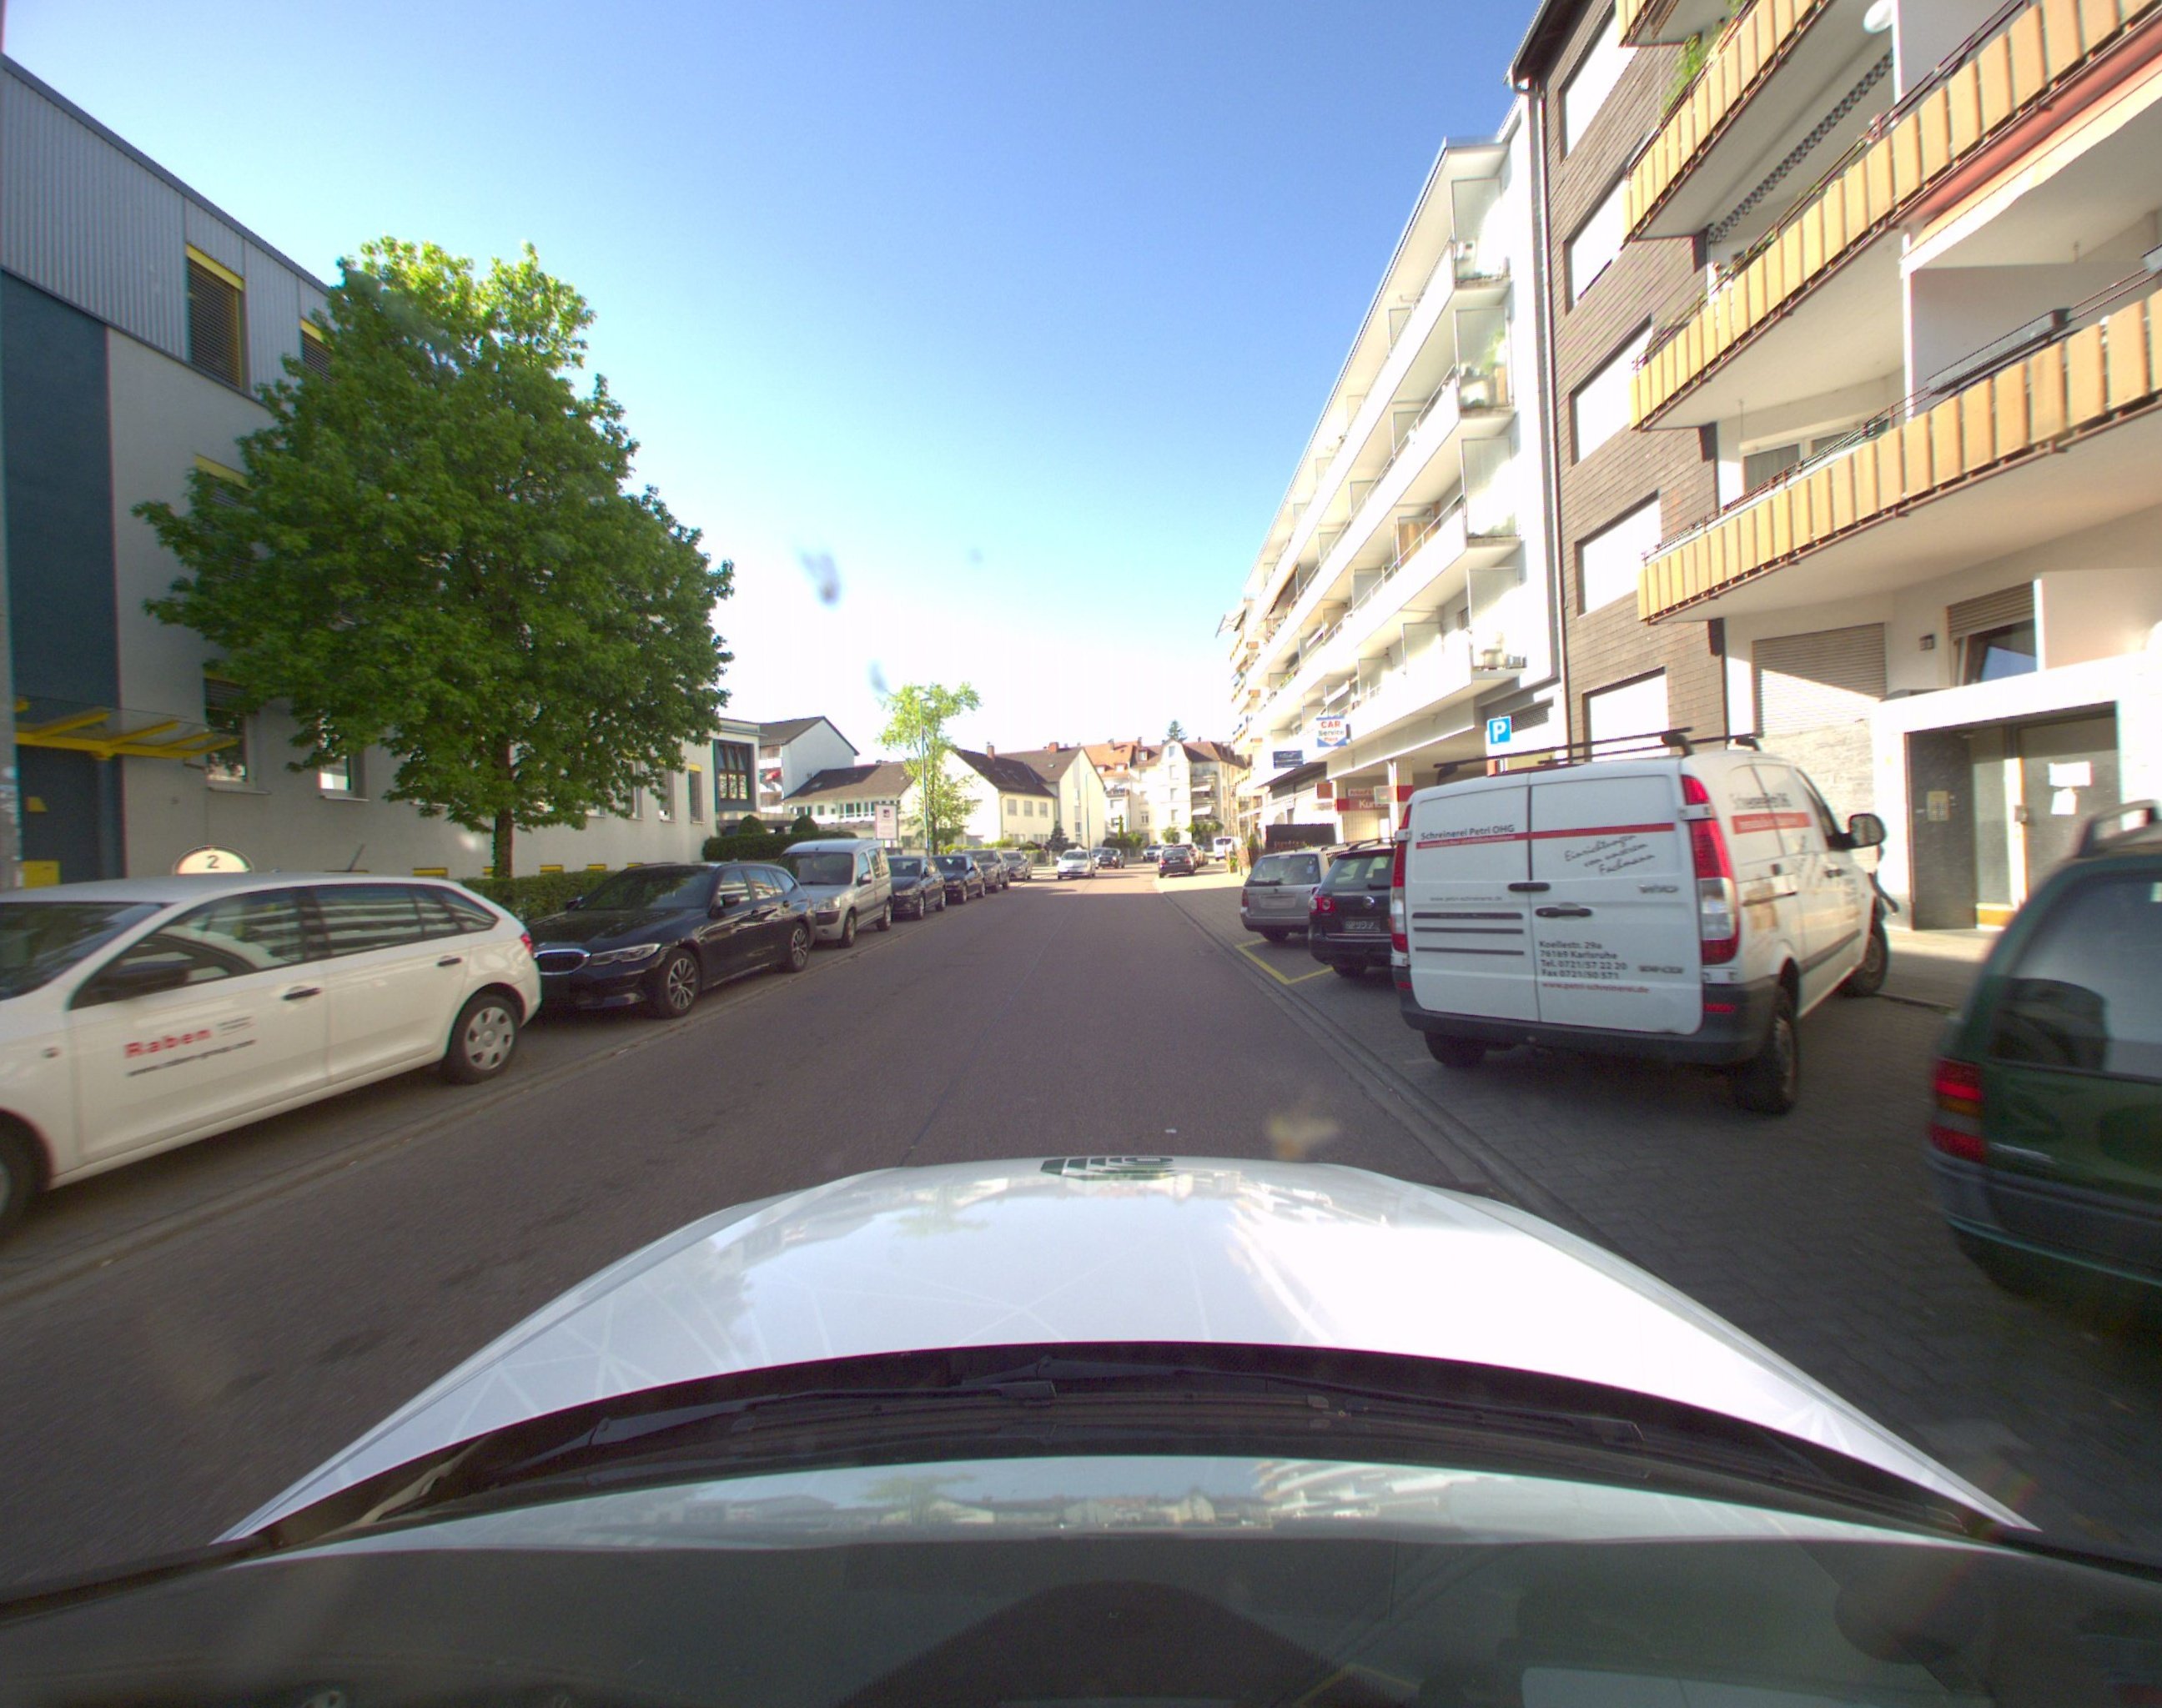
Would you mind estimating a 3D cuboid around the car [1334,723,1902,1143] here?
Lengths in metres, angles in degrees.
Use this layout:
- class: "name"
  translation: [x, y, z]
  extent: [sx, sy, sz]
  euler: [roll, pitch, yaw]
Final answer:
- class: "car"
  translation: [4.113, 0.283, 5.905]
  extent: [4.553, 1.898, 2.026]
  euler: [-5, -1, -39]

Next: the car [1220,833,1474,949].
- class: "car"
  translation: [4.461, 0.506, 13.233]
  extent: [4.672, 1.466, 1.670]
  euler: [-3, -1, -41]

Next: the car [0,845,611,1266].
- class: "car"
  translation: [-4.886, 0.777, 4.405]
  extent: [1.902, 1.530, 4.625]
  euler: [-2, 0, 0]

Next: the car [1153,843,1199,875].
- class: "car"
  translation: [4.898, 0.217, 41.255]
  extent: [1.959, 1.450, 5.017]
  euler: [-2, 0, 10]

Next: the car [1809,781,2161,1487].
- class: "car"
  translation: [4.199, 0.482, 2.548]
  extent: [4.010, 1.489, 1.601]
  euler: [-5, -1, -30]

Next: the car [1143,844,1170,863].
- class: "car"
  translation: [7.287, -0.023, 78.356]
  extent: [1.906, 1.725, 4.351]
  euler: [-3, -2, 13]

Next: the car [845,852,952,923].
- class: "car"
  translation: [-4.182, 0.707, 19.276]
  extent: [1.593, 1.440, 3.999]
  euler: [-2, 0, 0]

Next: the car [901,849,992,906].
- class: "car"
  translation: [-3.948, 0.637, 24.702]
  extent: [1.718, 1.465, 4.443]
  euler: [-2, 1, 3]

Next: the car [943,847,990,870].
- class: "car"
  translation: [-8.184, 0.341, 58.195]
  extent: [1.783, 1.556, 3.207]
  euler: [-3, -2, 25]

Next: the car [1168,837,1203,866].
- class: "car"
  translation: [6.794, -0.112, 52.588]
  extent: [1.805, 1.653, 4.575]
  euler: [-3, -2, 12]

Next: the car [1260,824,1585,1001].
- class: "car"
  translation: [4.083, 0.502, 9.336]
  extent: [4.352, 1.512, 1.735]
  euler: [-3, -1, -43]

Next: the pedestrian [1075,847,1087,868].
- class: "pedestrian"
  translation: [-0.016, 0.297, 69.783]
  extent: [0.676, 1.703, 0.828]
  euler: [-3, -2, 23]

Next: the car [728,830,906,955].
- class: "car"
  translation: [-4.456, 0.560, 14.501]
  extent: [1.682, 1.838, 4.341]
  euler: [-2, 1, 0]

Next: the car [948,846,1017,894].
- class: "car"
  translation: [-3.598, 0.541, 30.465]
  extent: [1.712, 1.586, 4.426]
  euler: [-2, 1, 3]

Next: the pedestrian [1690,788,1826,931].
- class: "pedestrian"
  translation: [8.074, 0.067, 9.765]
  extent: [0.828, 1.593, 0.890]
  euler: [-3, 0, 7]

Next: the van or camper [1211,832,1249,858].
- class: "van or camper"
  translation: [12.923, -0.809, 70.393]
  extent: [2.002, 1.947, 4.731]
  euler: [-5, 0, 25]

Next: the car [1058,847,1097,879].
- class: "car"
  translation: [-0.147, 0.436, 43.122]
  extent: [1.718, 1.485, 4.110]
  euler: [-2, 1, 3]

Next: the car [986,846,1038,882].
- class: "car"
  translation: [-3.345, 0.441, 40.428]
  extent: [1.986, 1.534, 4.920]
  euler: [-2, 1, 1]

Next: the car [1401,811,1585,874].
- class: "car"
  translation: [12.029, -0.323, 24.001]
  extent: [4.375, 1.512, 1.980]
  euler: [-4, -1, 1]

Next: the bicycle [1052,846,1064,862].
- class: "bicycle"
  translation: [-1.973, 0.001, 69.897]
  extent: [0.453, 1.250, 1.935]
  euler: [-3, -2, 14]

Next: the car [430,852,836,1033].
- class: "car"
  translation: [-4.489, 0.748, 9.181]
  extent: [1.725, 1.439, 4.616]
  euler: [-2, 0, 4]

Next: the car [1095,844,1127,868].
- class: "car"
  translation: [2.225, 0.175, 58.944]
  extent: [1.729, 1.513, 3.740]
  euler: [-3, -2, 10]
